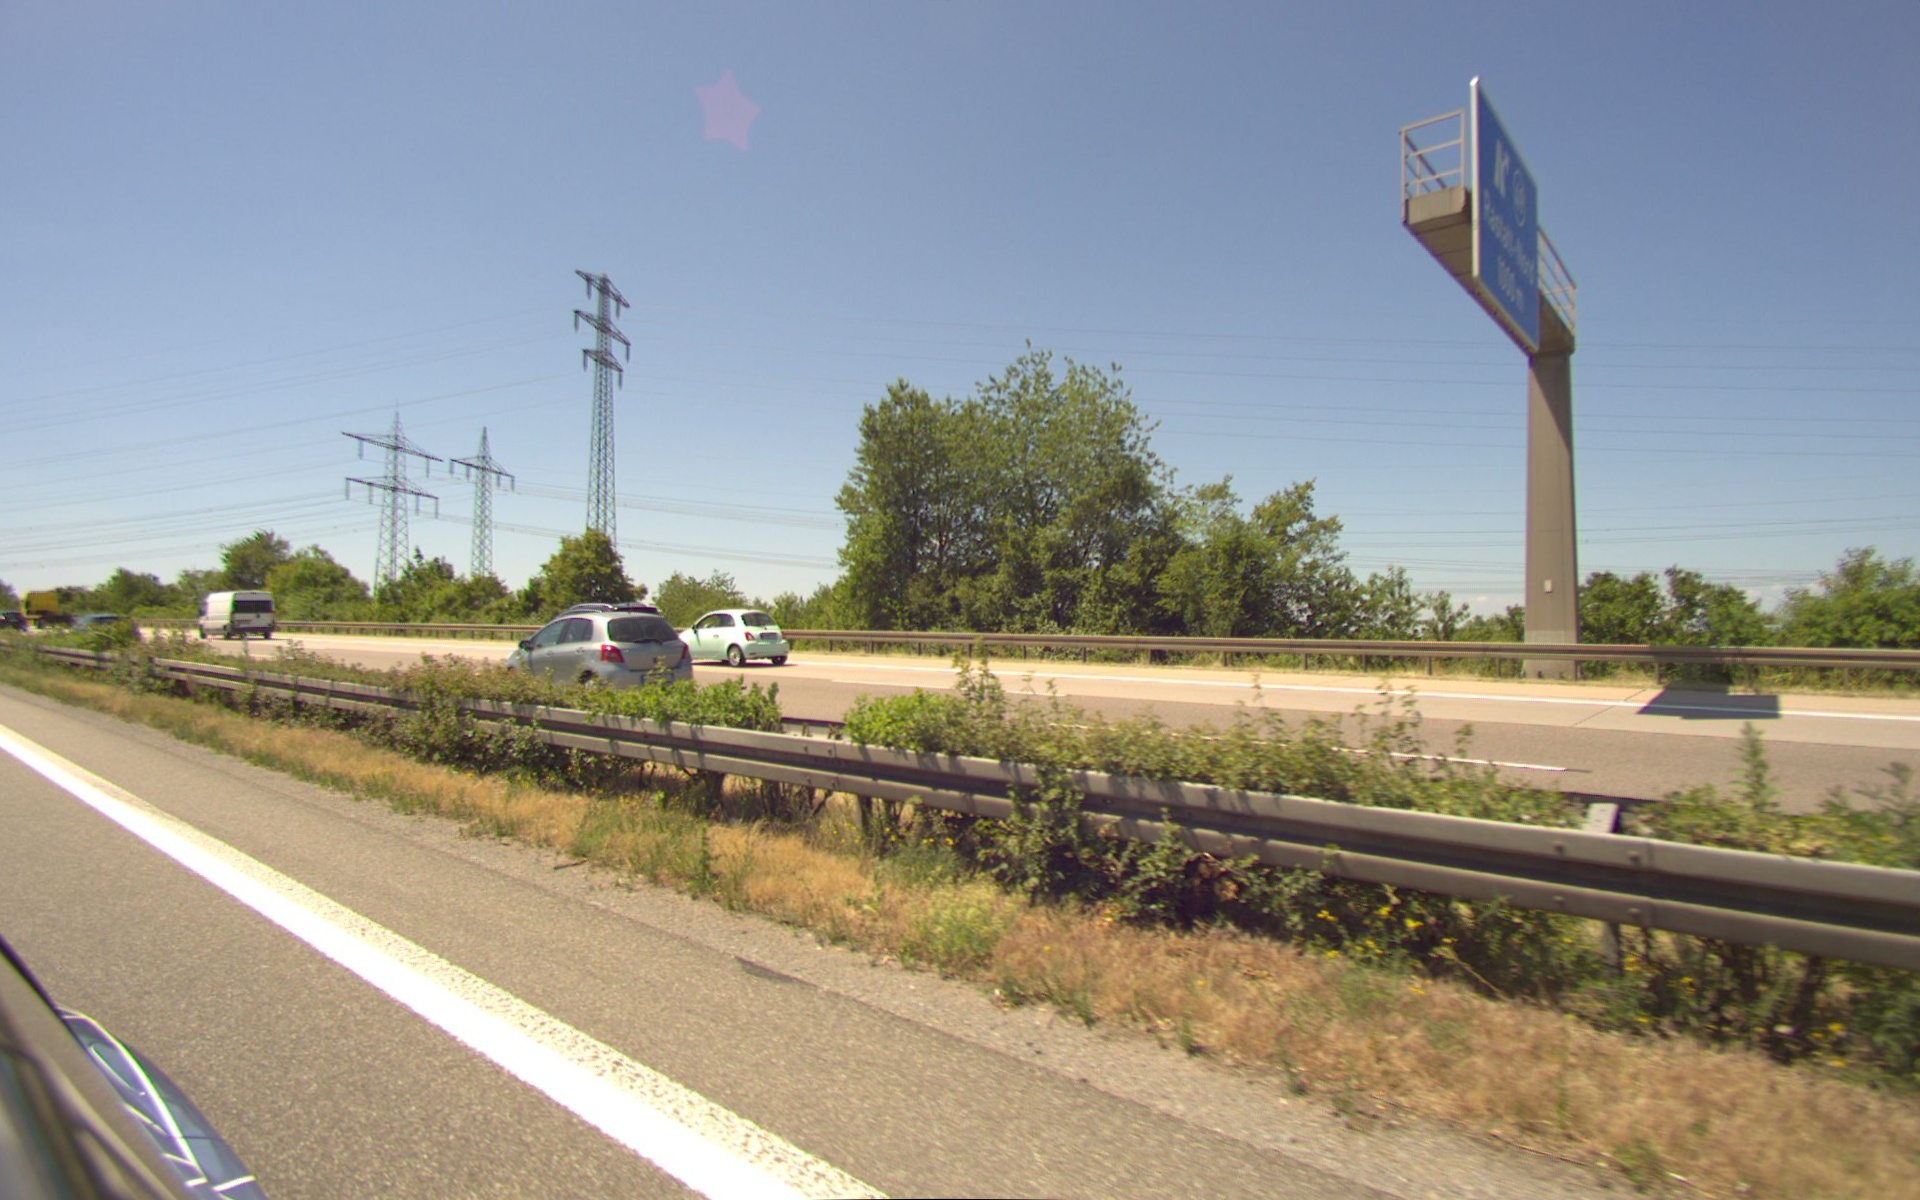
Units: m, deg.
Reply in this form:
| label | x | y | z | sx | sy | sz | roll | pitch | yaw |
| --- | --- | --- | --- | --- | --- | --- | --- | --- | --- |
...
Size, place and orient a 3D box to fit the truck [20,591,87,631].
| label | x | y | z | sx | sy | sz | roll | pitch | yaw |
| --- | --- | --- | --- | --- | --- | --- | --- | --- | --- |
| truck | -75.500 | 0.927 | 84.235 | 9.653 | 3.176 | 2.498 | -1 | -1 | 38 |

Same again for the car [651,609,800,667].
| label | x | y | z | sx | sy | sz | roll | pitch | yaw |
| --- | --- | --- | --- | --- | --- | --- | --- | --- | --- |
| car | -6.470 | 0.980 | 27.734 | 4.086 | 1.469 | 1.973 | -1 | 0 | 41 |

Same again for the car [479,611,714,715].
| label | x | y | z | sx | sy | sz | roll | pitch | yaw |
| --- | --- | --- | --- | --- | --- | --- | --- | --- | --- |
| car | -5.992 | 0.919 | 16.432 | 4.247 | 1.477 | 1.729 | -1 | -1 | 40 |

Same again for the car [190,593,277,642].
| label | x | y | z | sx | sy | sz | roll | pitch | yaw |
| --- | --- | --- | --- | --- | --- | --- | --- | --- | --- |
| car | -38.836 | 0.904 | 54.033 | 6.326 | 2.496 | 2.110 | -1 | -1 | 39 |

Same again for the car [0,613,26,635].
| label | x | y | z | sx | sy | sz | roll | pitch | yaw |
| --- | --- | --- | --- | --- | --- | --- | --- | --- | --- |
| car | -69.173 | 1.699 | 73.069 | 4.230 | 1.521 | 1.959 | -1 | 0 | 39 |

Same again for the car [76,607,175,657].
| label | x | y | z | sx | sy | sz | roll | pitch | yaw |
| --- | --- | --- | --- | --- | --- | --- | --- | --- | --- |
| car | -30.444 | 1.126 | 36.873 | 4.603 | 1.711 | 1.974 | -1 | -1 | 40 |

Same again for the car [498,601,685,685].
| label | x | y | z | sx | sy | sz | roll | pitch | yaw |
| --- | --- | --- | --- | --- | --- | --- | --- | --- | --- |
| car | -8.441 | 0.903 | 22.983 | 4.603 | 1.711 | 1.973 | -1 | -1 | 40 |
